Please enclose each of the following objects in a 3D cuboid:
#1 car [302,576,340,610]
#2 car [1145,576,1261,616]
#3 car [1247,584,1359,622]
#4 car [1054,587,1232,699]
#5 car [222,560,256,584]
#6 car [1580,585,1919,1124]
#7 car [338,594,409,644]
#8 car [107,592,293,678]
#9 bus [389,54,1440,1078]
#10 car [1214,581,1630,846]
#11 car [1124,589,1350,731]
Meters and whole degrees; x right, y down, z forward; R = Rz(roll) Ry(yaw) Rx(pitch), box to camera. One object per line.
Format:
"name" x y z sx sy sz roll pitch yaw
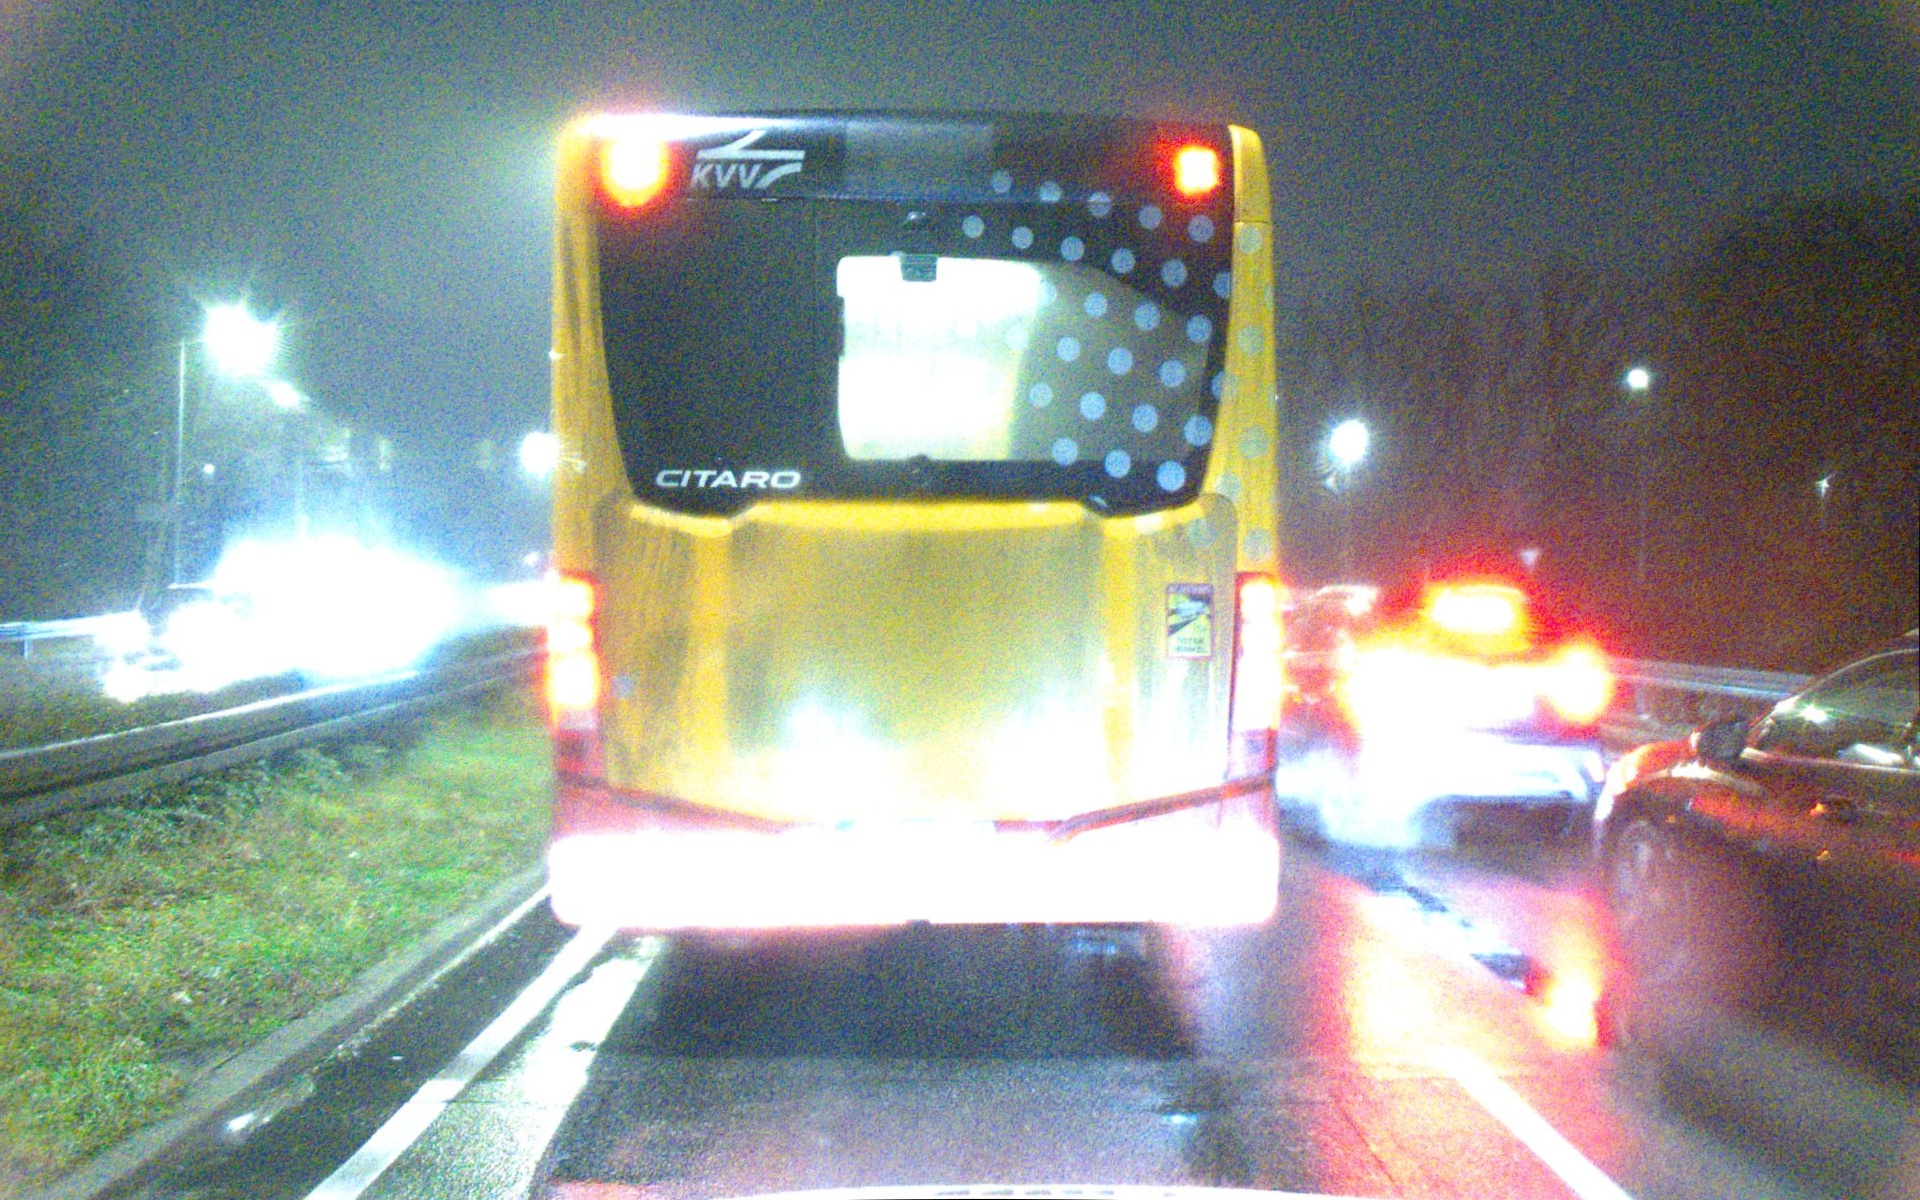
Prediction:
"car" -31.951 -0.359 82.679 1.741 1.659 4.222 0 1 -22
"car" 10.091 -0.170 68.824 4.399 1.545 1.854 1 2 -9
"car" 13.512 0.126 65.248 3.967 1.369 1.744 1 2 -9
"car" 2.549 0.579 23.970 1.953 1.466 3.998 1 0 -3
"car" -48.726 -1.863 111.714 1.722 1.528 3.961 1 0 -29
"car" 3.570 0.759 4.921 1.639 1.532 4.558 2 0 -1
"car" -17.814 0.549 50.364 1.683 1.448 4.647 0 0 -15
"car" -14.729 0.626 32.366 1.956 1.534 4.831 0 0 -8
"bus" -0.307 -0.238 9.861 3.219 3.103 9.540 0 2 -2
"car" 3.048 0.684 11.771 1.644 1.548 3.957 1 0 -3
"car" 2.870 0.578 17.915 1.652 1.353 3.959 0 0 -2
